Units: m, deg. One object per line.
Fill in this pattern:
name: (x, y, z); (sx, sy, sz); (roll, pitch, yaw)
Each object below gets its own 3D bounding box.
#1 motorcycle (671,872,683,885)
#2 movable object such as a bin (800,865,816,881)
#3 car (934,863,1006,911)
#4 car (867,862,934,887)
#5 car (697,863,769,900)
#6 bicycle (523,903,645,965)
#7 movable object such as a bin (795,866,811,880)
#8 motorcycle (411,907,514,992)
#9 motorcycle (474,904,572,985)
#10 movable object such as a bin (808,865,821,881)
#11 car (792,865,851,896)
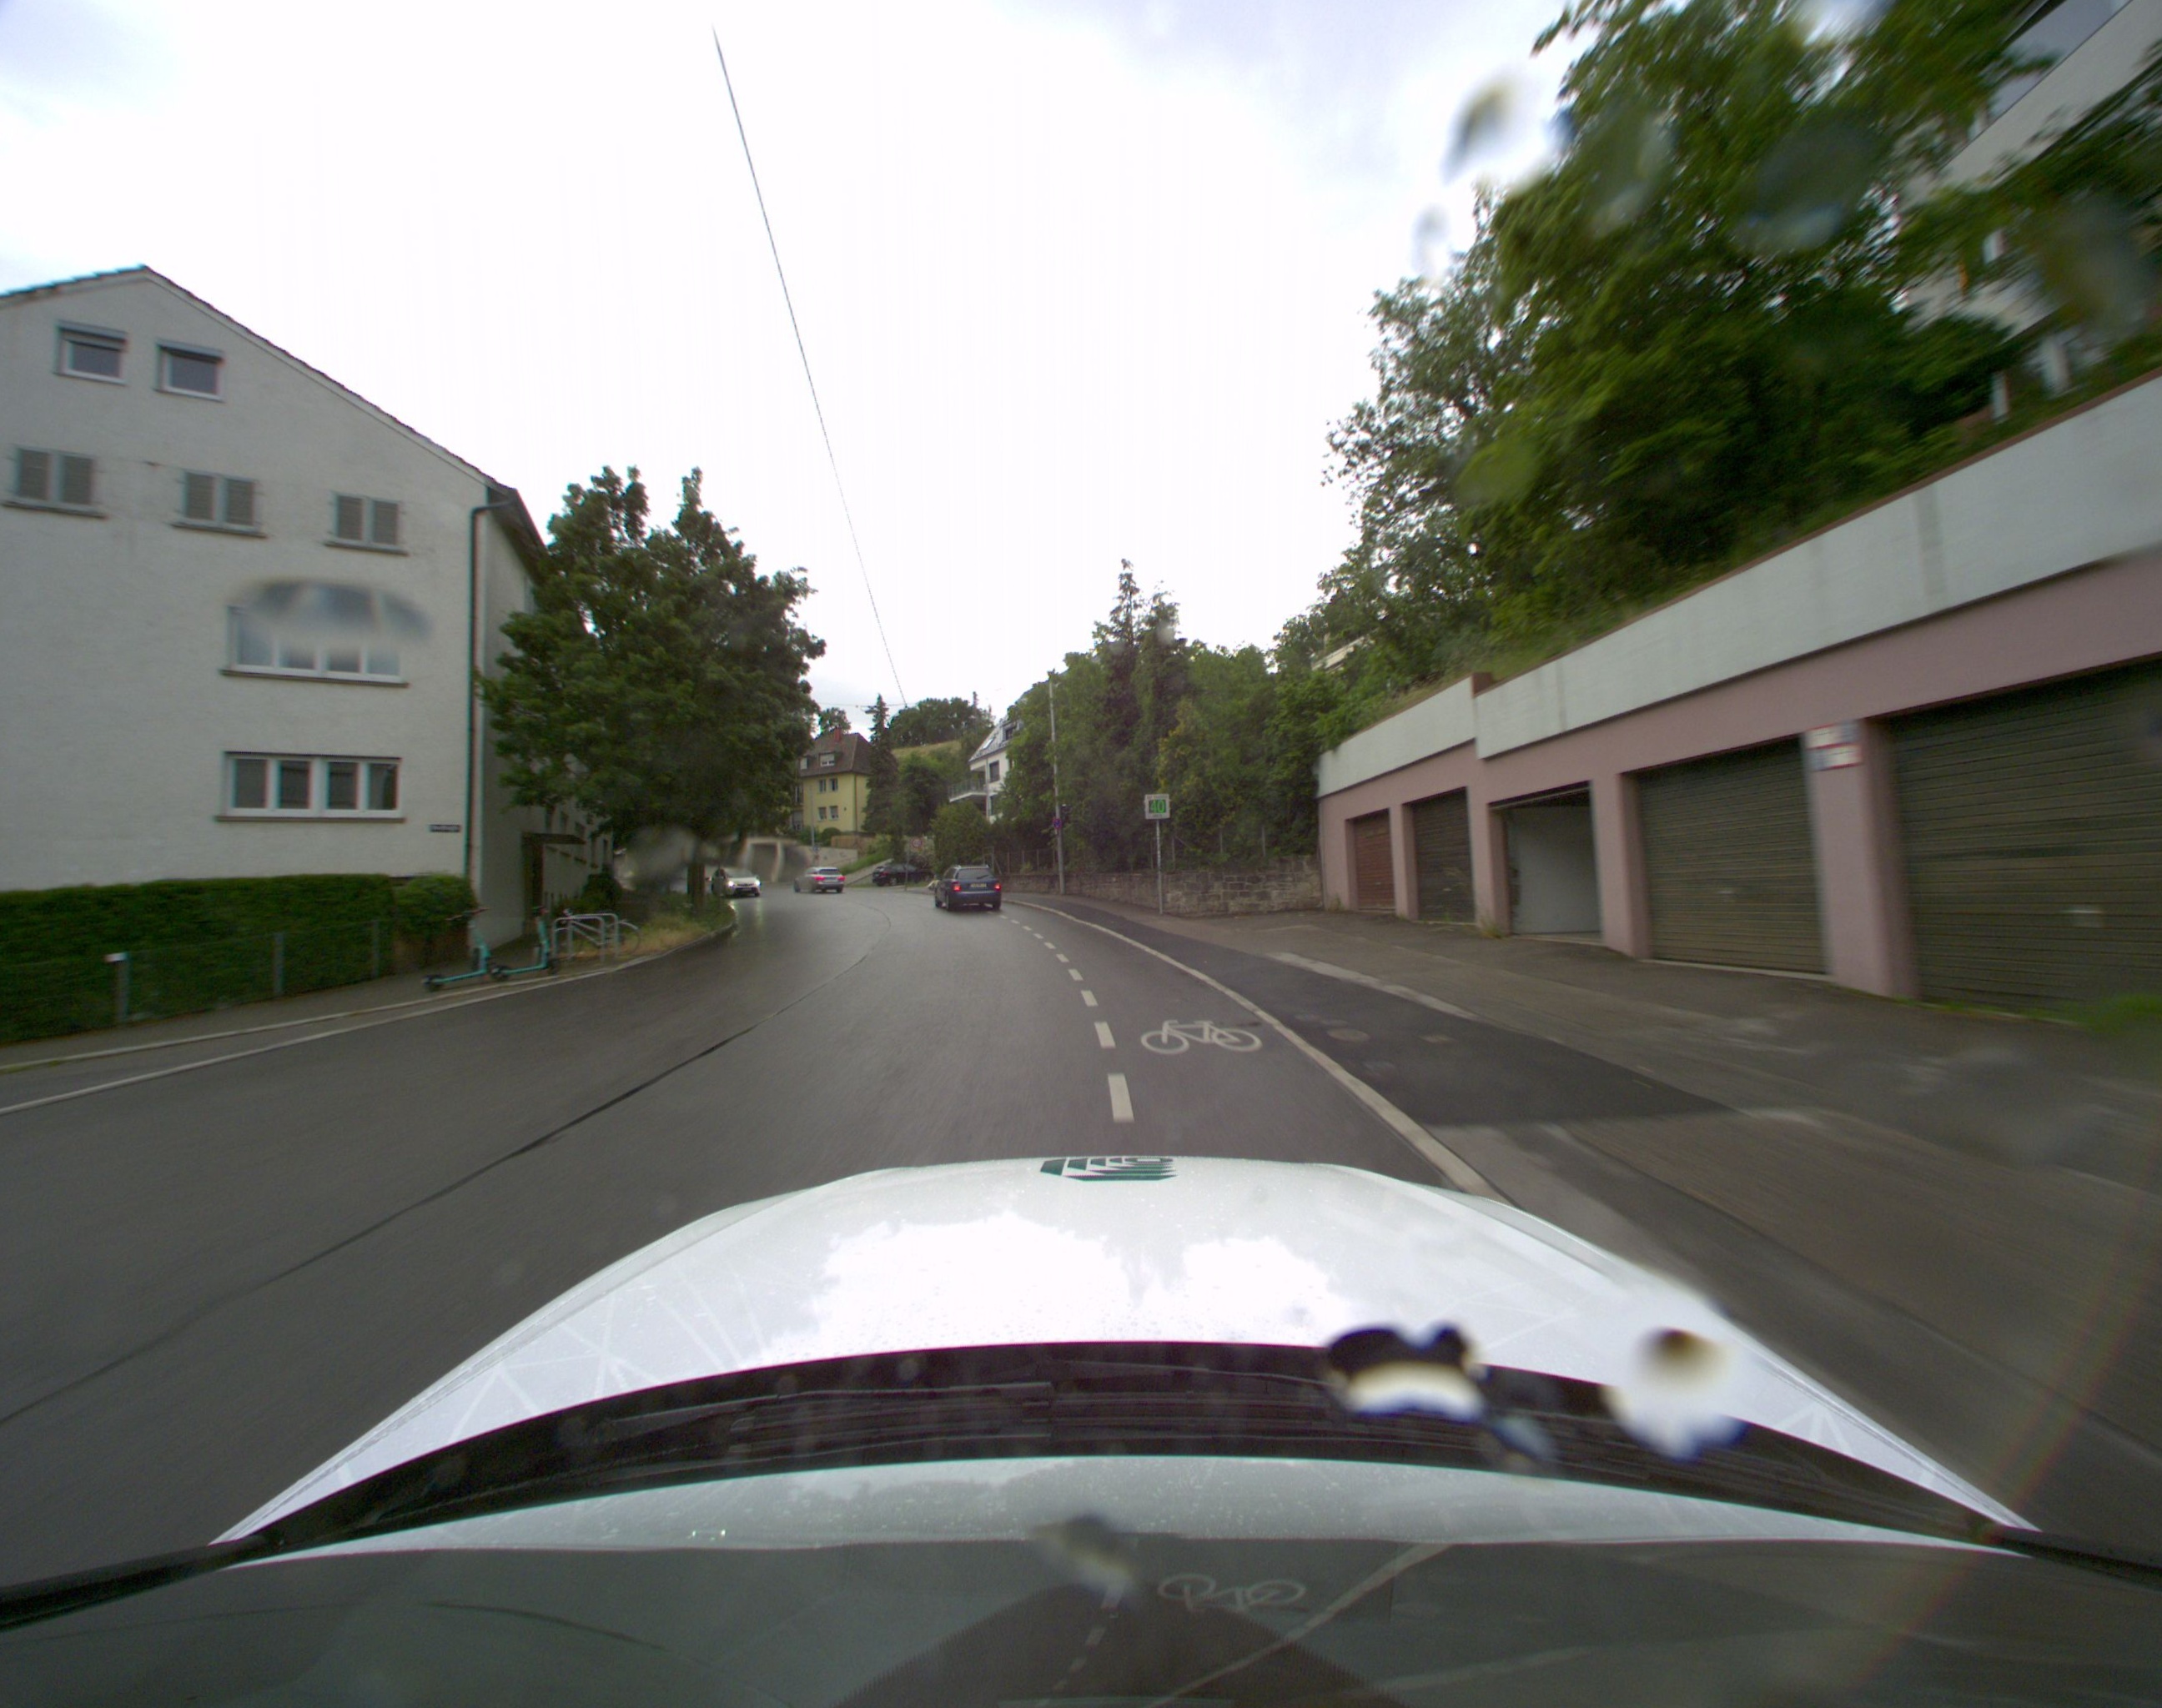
motorcycle: (-37.402, 2.279, 75.378); (1.422, 1.131, 0.553); (-1, -1, 44)
movable object such as a bin: (-21.957, 1.522, 65.529); (0.777, 1.185, 0.867); (-1, 0, 28)
car: (-3.816, 1.035, 27.422); (1.857, 1.414, 4.339); (-2, 0, -15)
car: (-12.143, 1.370, 54.959); (1.718, 1.508, 4.208); (-2, -1, 43)
car: (-18.950, 1.510, 44.218); (2.002, 1.788, 4.637); (-5, 1, -43)
bicycle: (-9.957, 1.588, 16.409); (1.970, 1.060, 0.749); (-2, 0, -22)
movable object such as a bin: (-22.553, 1.561, 66.122); (0.789, 1.142, 0.867); (-1, 0, 28)
motorcycle: (-10.062, 1.527, 13.302); (0.549, 1.228, 1.308); (-2, 0, 7)
motorcycle: (-9.477, 1.513, 13.879); (0.554, 1.203, 1.402); (-2, 0, 7)
movable object such as a bin: (-21.339, 1.505, 65.191); (0.573, 1.223, 0.709); (-1, 0, 28)
car: (-14.871, 1.491, 46.568); (1.965, 1.561, 4.217); (2, 0, -36)
